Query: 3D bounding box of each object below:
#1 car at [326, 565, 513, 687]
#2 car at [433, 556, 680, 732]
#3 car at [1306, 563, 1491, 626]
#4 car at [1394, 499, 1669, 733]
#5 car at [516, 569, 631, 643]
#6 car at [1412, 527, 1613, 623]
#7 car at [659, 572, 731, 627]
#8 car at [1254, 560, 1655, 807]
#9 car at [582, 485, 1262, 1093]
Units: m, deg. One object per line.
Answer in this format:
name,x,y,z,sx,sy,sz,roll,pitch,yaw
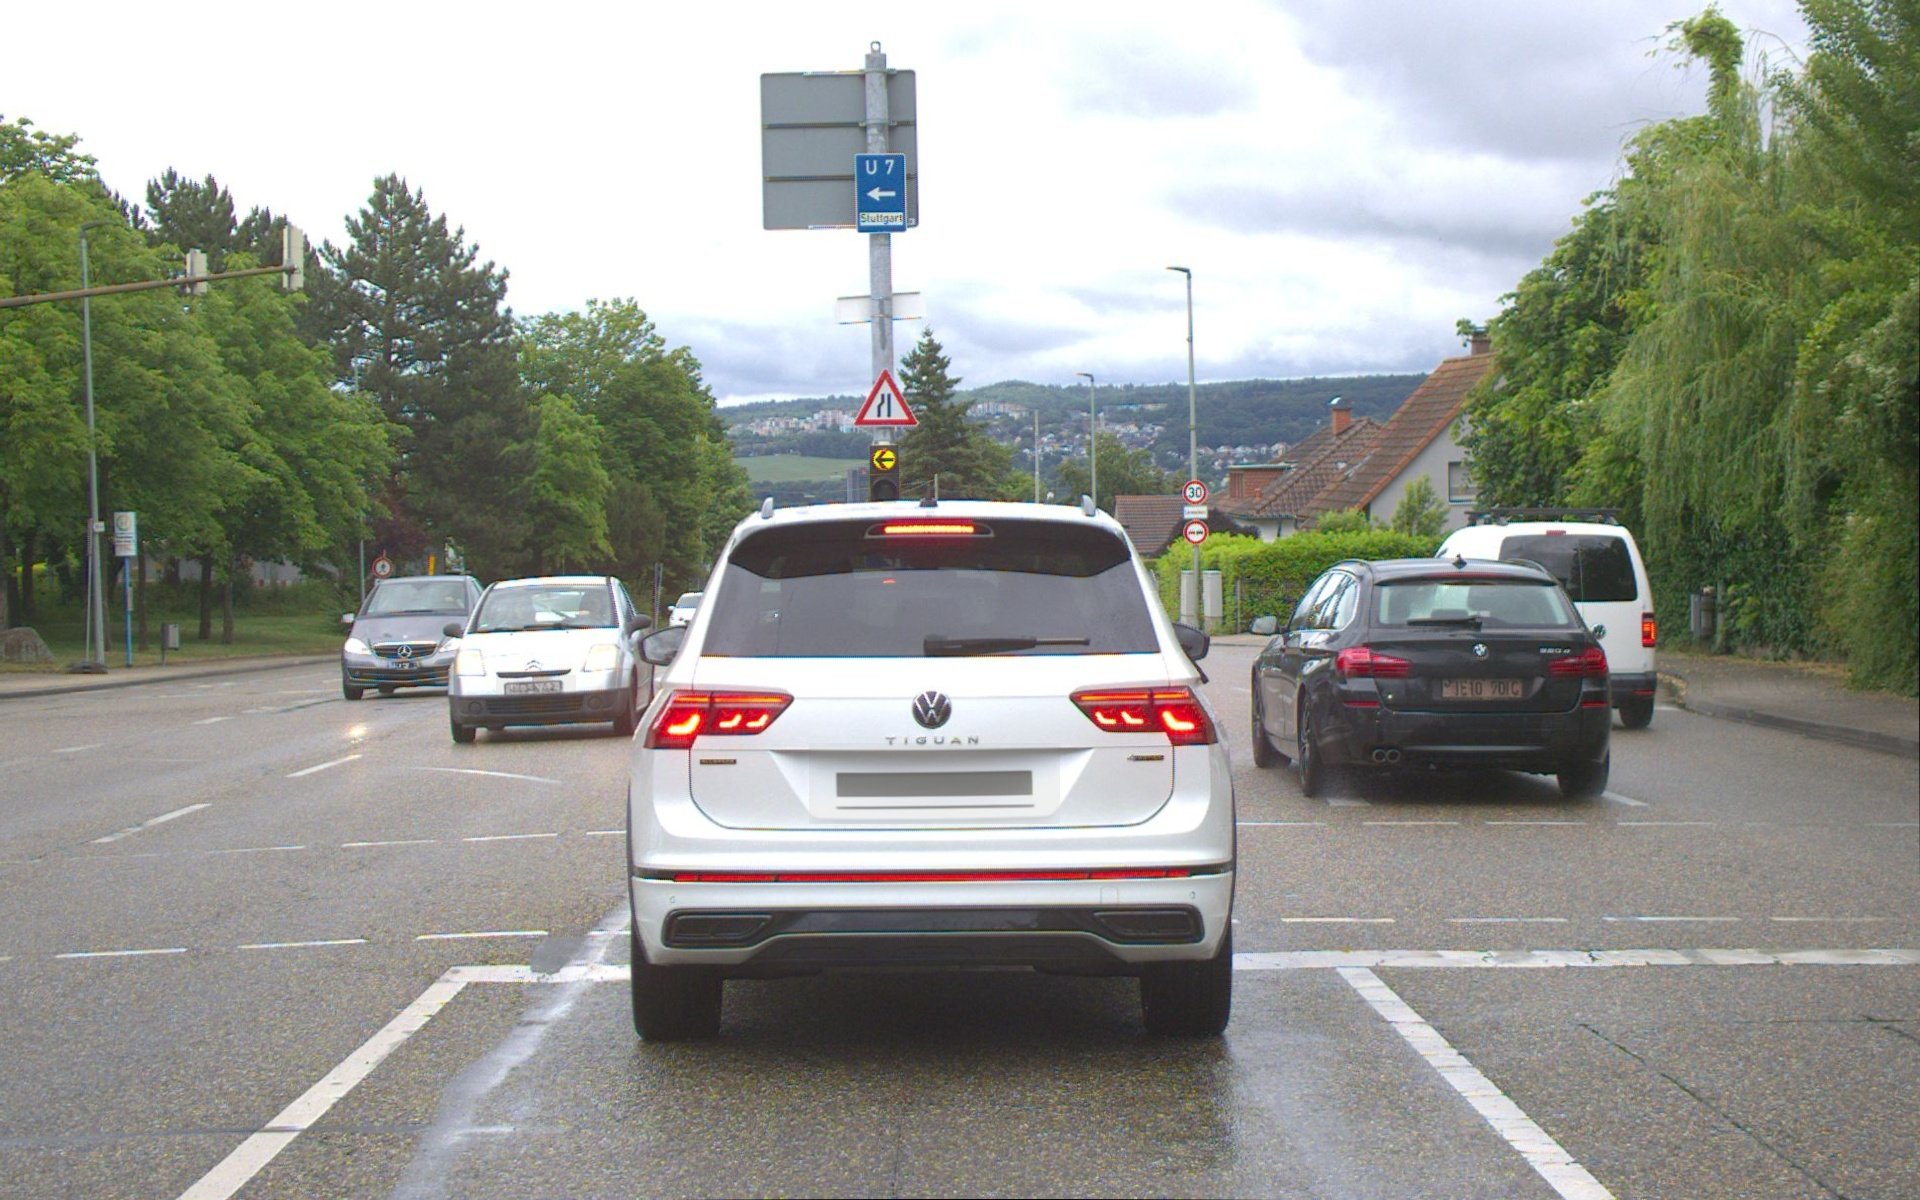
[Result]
car,-7.145,0.306,45.835,1.774,1.453,4.549,-2,1,-1
car,-3.687,0.350,32.136,1.774,1.453,4.549,-2,1,-1
car,9.783,-0.135,76.962,3.987,1.372,1.585,0,1,3
car,5.109,0.082,31.205,1.764,1.870,3.806,0,3,-1
car,-7.224,0.090,64.474,1.650,1.269,3.621,-1,1,1
car,11.556,-0.533,72.081,3.987,1.949,1.585,0,1,3
car,-7.655,-0.038,99.583,1.774,1.453,4.186,-2,1,-1
car,3.045,0.512,21.985,1.898,1.437,4.000,0,-1,-1
car,-0.128,0.493,11.454,1.868,1.668,4.000,0,1,-1
